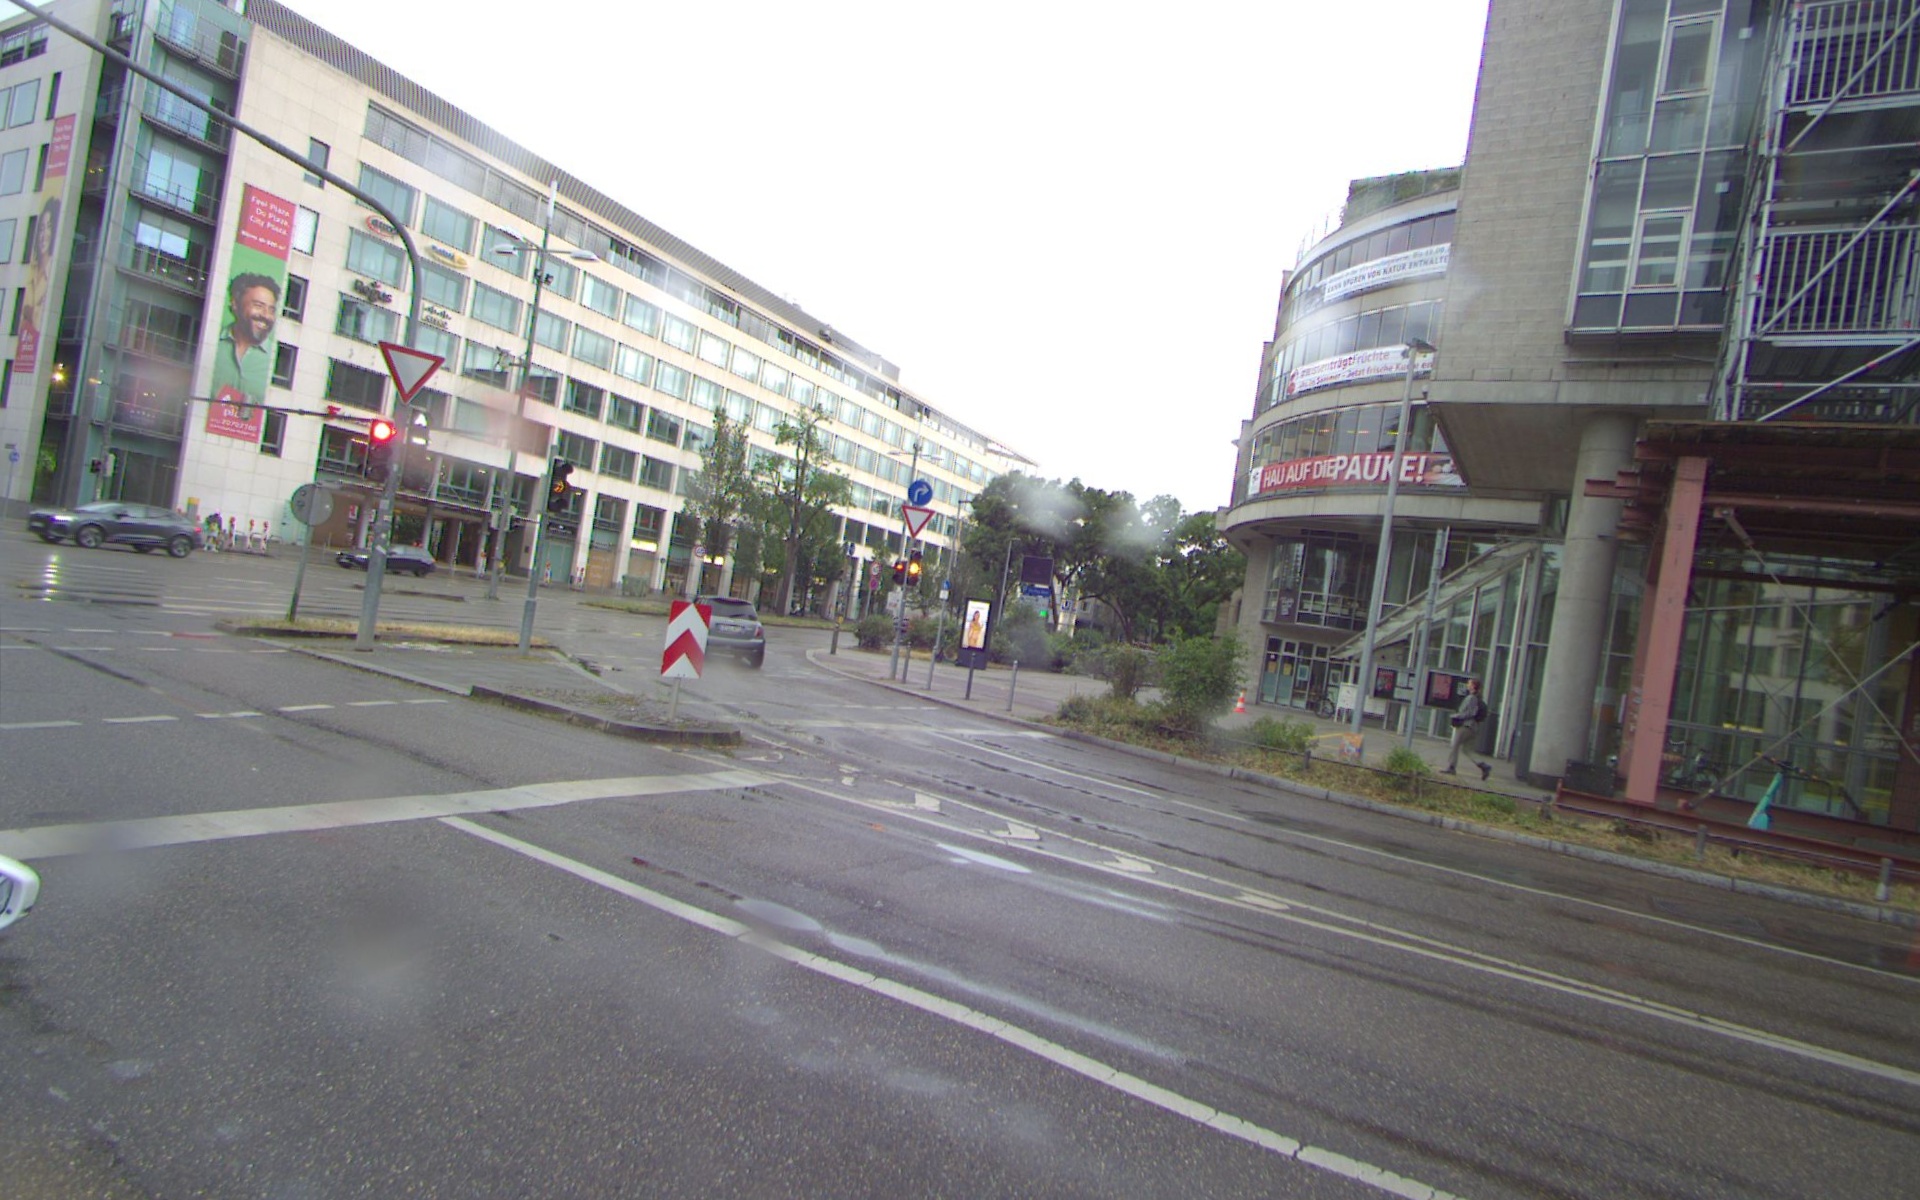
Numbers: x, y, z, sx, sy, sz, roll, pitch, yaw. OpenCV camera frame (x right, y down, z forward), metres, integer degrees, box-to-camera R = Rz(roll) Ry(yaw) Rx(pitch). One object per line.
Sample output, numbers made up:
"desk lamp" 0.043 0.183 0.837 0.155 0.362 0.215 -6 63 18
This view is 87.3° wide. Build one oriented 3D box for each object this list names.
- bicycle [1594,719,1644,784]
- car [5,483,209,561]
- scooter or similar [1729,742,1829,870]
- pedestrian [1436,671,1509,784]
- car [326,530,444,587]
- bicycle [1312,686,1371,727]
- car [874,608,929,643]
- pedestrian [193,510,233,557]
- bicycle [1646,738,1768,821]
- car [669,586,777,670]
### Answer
"bicycle" 13.673 3.117 20.904 0.576 1.208 1.614 7 -2 27
"car" -26.543 -2.364 31.527 1.797 1.627 4.494 7 -2 16
"scooter or similar" 9.239 2.276 11.404 0.577 1.208 1.780 7 -1 34
"pedestrian" 8.846 2.182 17.406 0.776 1.796 0.781 7 -1 13
"car" -27.585 -1.942 48.419 1.522 2.036 4.666 7 -2 28
"bicycle" 13.473 3.757 35.516 1.753 1.208 0.586 6 -1 29
"car" -3.394 1.537 59.131 1.898 1.715 4.004 8 -1 14
"pedestrian" -32.173 -2.880 43.344 0.822 1.838 0.963 6 -1 31
"bicycle" 13.503 3.233 18.215 1.584 1.208 0.587 7 -1 6
"car" -5.471 0.582 22.898 1.722 1.473 3.702 8 -1 -22
